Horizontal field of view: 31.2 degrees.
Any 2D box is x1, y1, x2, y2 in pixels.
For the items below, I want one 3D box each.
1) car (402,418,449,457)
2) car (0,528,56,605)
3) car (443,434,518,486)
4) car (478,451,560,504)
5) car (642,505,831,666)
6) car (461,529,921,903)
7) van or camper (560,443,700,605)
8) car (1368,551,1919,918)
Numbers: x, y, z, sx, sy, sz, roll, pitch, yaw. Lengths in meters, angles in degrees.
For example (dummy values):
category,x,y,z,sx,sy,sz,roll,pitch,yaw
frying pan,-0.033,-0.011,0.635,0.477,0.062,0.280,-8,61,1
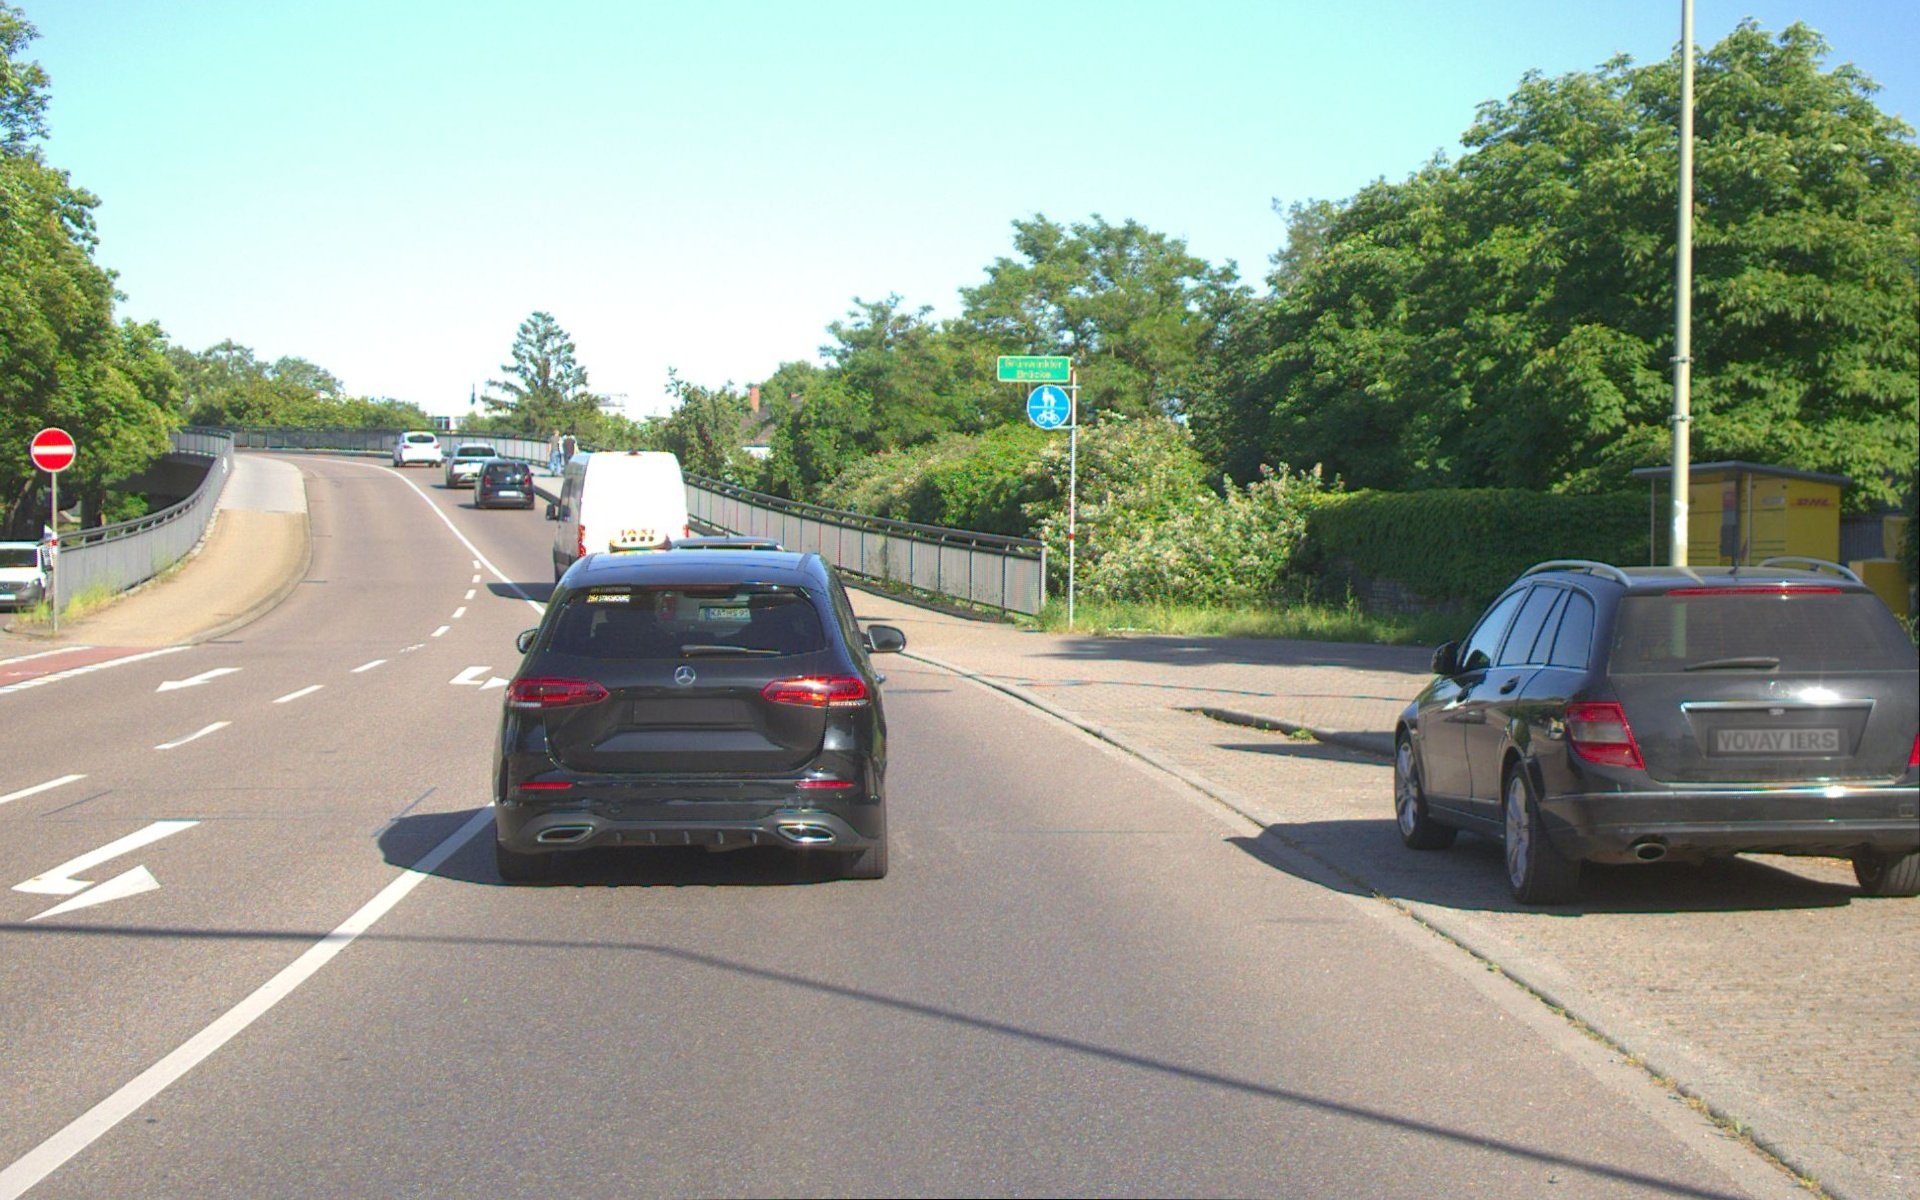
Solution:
category,x,y,z,sx,sy,sz,roll,pitch,yaw
car,-22.562,-6.828,145.010,1.876,1.538,4.001,1,1,-10
car,-25.777,-0.933,92.914,1.923,1.984,4.258,1,1,-6
car,-16.499,-4.806,118.482,1.993,1.674,4.000,0,0,1
car,-13.207,-3.652,103.119,1.918,1.483,4.270,0,0,0
car,-2.386,-0.160,37.543,1.804,1.634,4.000,1,0,0
car,-1.195,0.480,16.947,1.770,1.587,3.989,1,1,2
van or camper,-6.074,-1.403,62.564,2.225,2.729,7.082,1,1,-7
car,3.151,0.504,15.802,1.808,1.414,4.425,0,1,-3
